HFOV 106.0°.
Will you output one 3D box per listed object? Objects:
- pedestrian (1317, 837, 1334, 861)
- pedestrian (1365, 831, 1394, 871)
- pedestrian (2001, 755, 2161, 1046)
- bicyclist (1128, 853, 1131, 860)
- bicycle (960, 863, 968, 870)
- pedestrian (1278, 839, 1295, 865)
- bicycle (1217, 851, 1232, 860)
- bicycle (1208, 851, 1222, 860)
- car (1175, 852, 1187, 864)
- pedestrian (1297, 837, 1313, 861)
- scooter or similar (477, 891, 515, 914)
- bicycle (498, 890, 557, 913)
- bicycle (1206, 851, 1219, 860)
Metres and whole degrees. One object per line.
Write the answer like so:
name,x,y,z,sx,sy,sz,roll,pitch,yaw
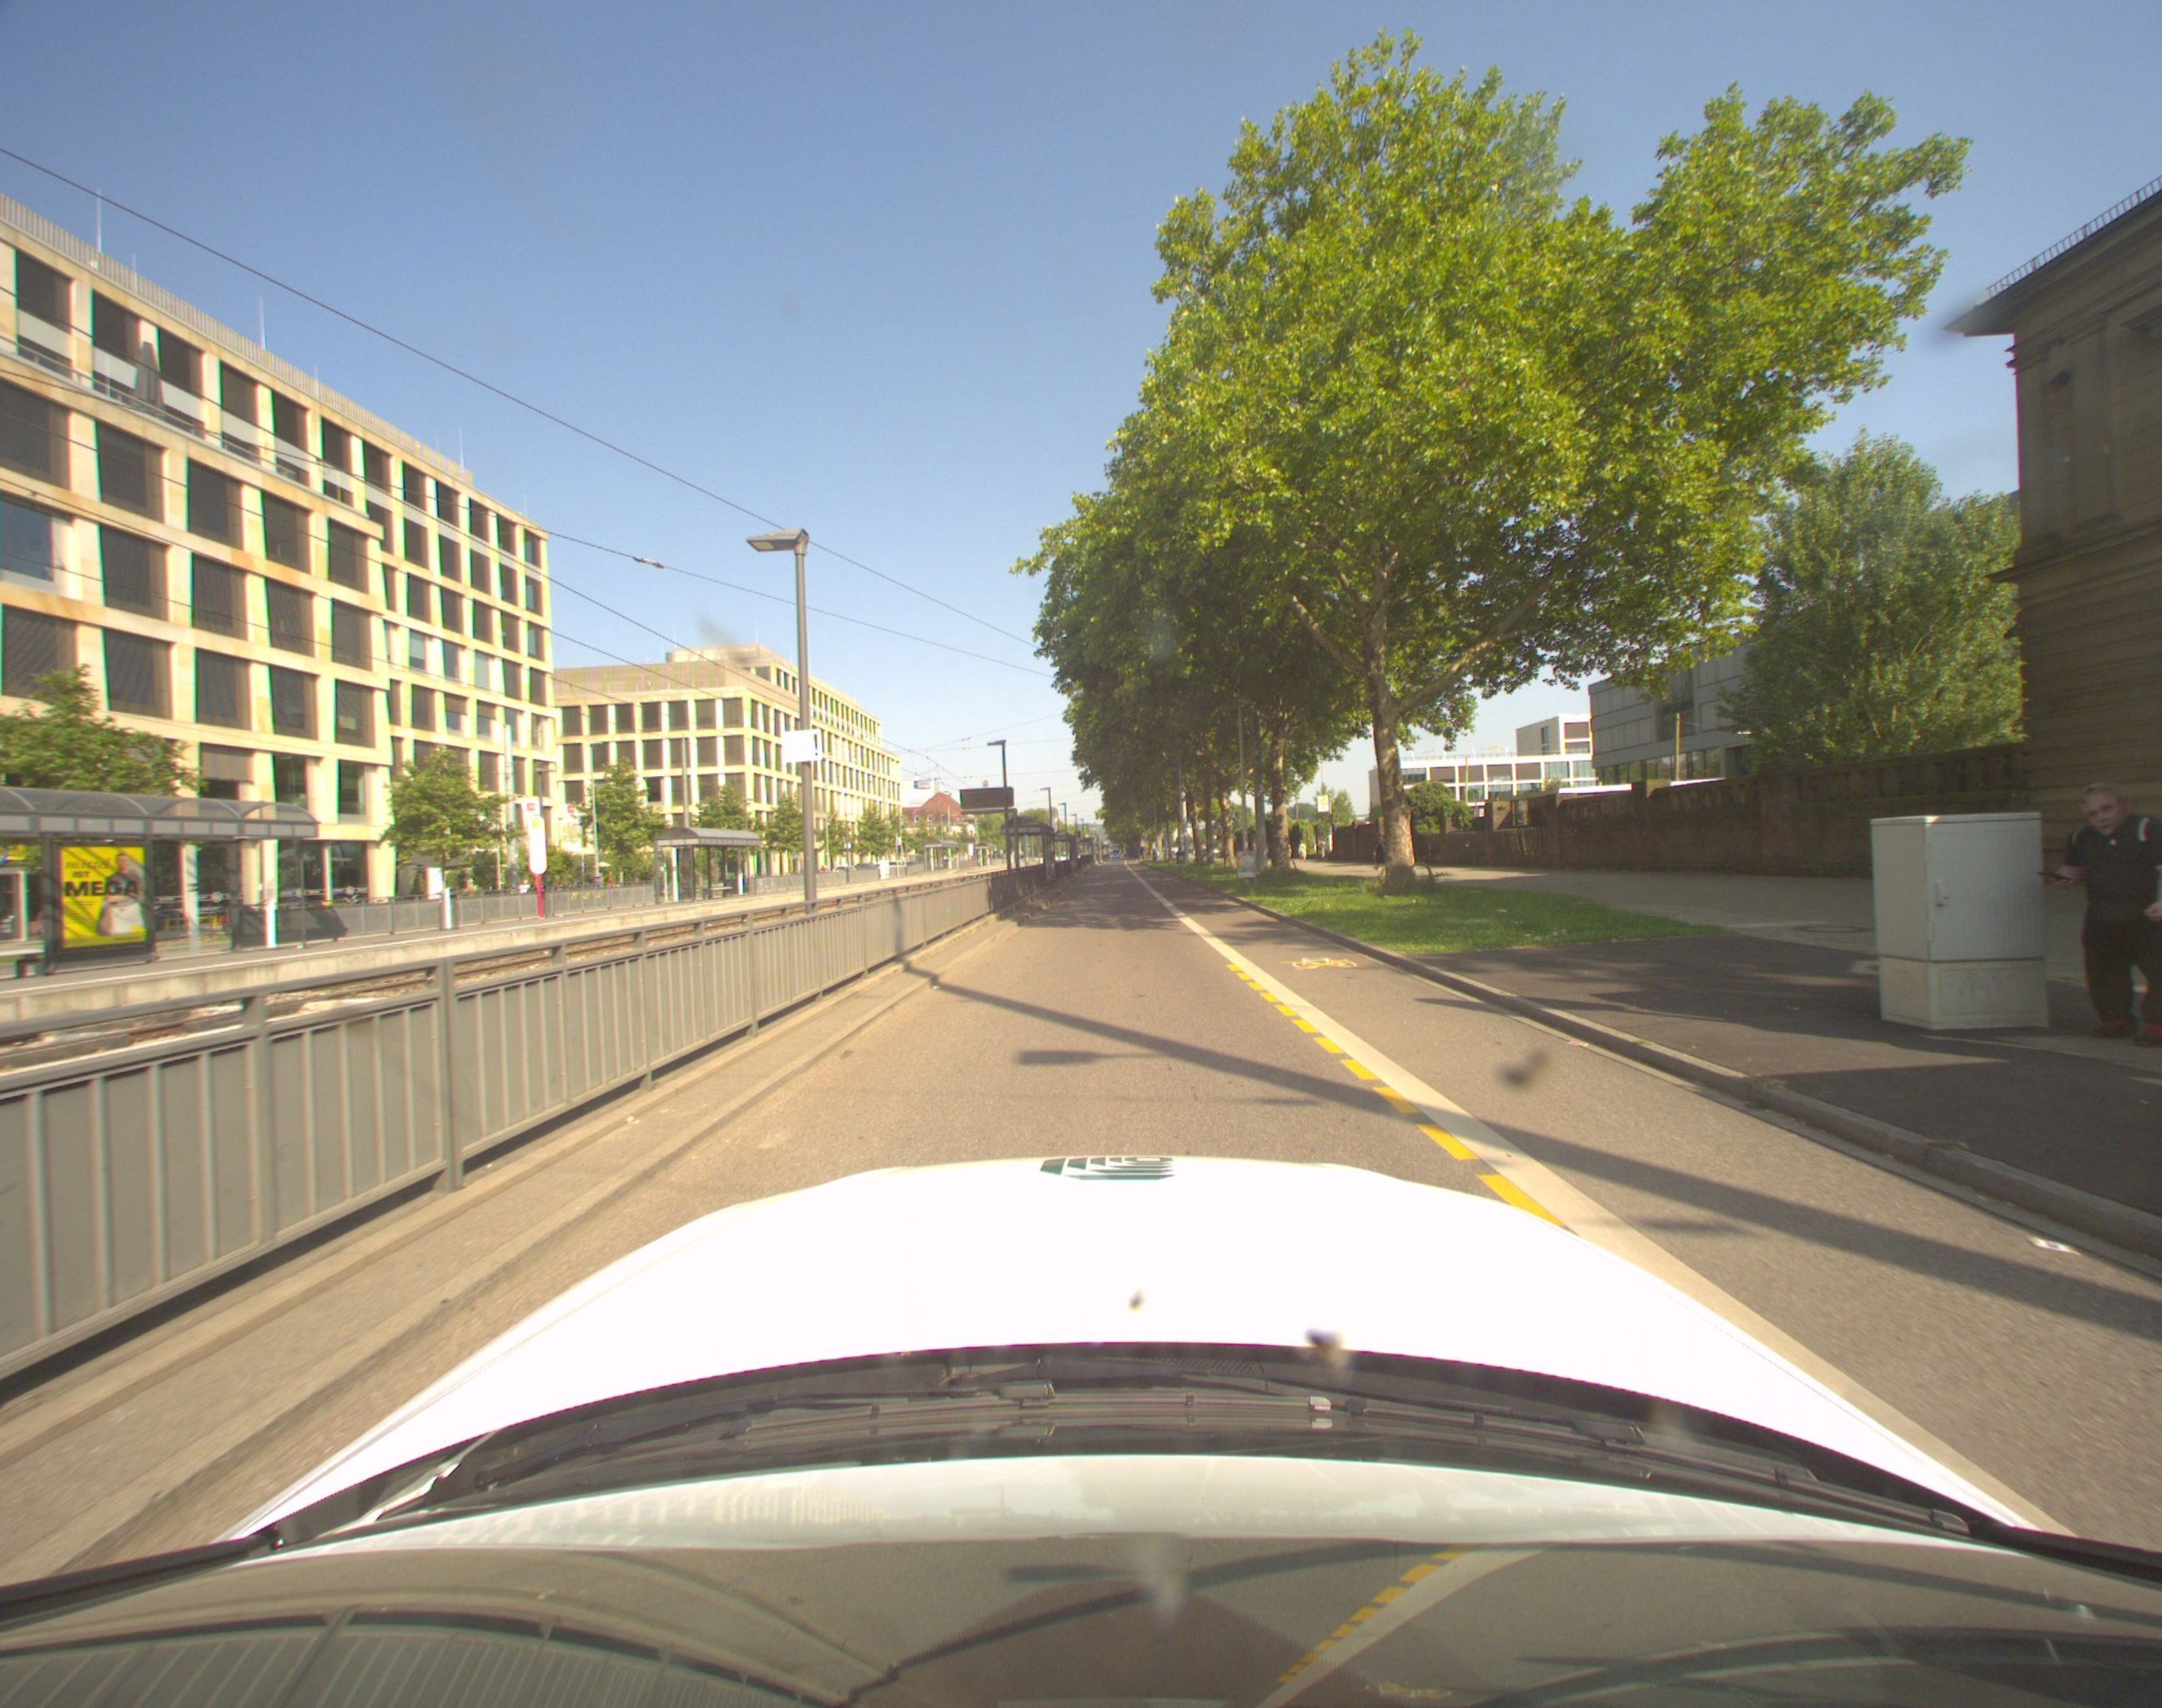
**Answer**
pedestrian,16.866,-0.321,56.110,0.803,1.604,0.948,-4,-1,2
pedestrian,12.982,-0.135,35.472,0.816,1.686,1.013,-3,0,2
pedestrian,6.499,0.262,5.141,0.690,1.696,0.644,-3,0,-19
bicyclist,10.036,0.469,169.058,0.703,1.461,1.010,-2,-1,3
bicycle,-13.508,1.439,94.305,0.474,0.662,1.616,-3,0,7
pedestrian,13.192,-0.120,52.350,0.803,1.636,0.948,-4,-1,2
bicycle,17.255,0.128,98.114,1.647,0.969,0.507,-5,0,7
bicycle,16.538,0.170,100.638,0.509,0.969,1.642,-4,-1,-39
car,18.678,0.777,152.265,1.715,2.048,4.465,-3,0,3
pedestrian,15.515,-0.316,56.394,0.803,1.604,0.948,-4,-1,2
scooter or similar,-27.957,2.328,38.924,1.517,0.986,0.395,-3,0,0
bicycle,-28.434,2.433,41.885,2.425,0.986,0.822,-3,0,0
bicycle,16.491,0.167,101.977,0.509,0.969,1.642,-4,-1,-39
